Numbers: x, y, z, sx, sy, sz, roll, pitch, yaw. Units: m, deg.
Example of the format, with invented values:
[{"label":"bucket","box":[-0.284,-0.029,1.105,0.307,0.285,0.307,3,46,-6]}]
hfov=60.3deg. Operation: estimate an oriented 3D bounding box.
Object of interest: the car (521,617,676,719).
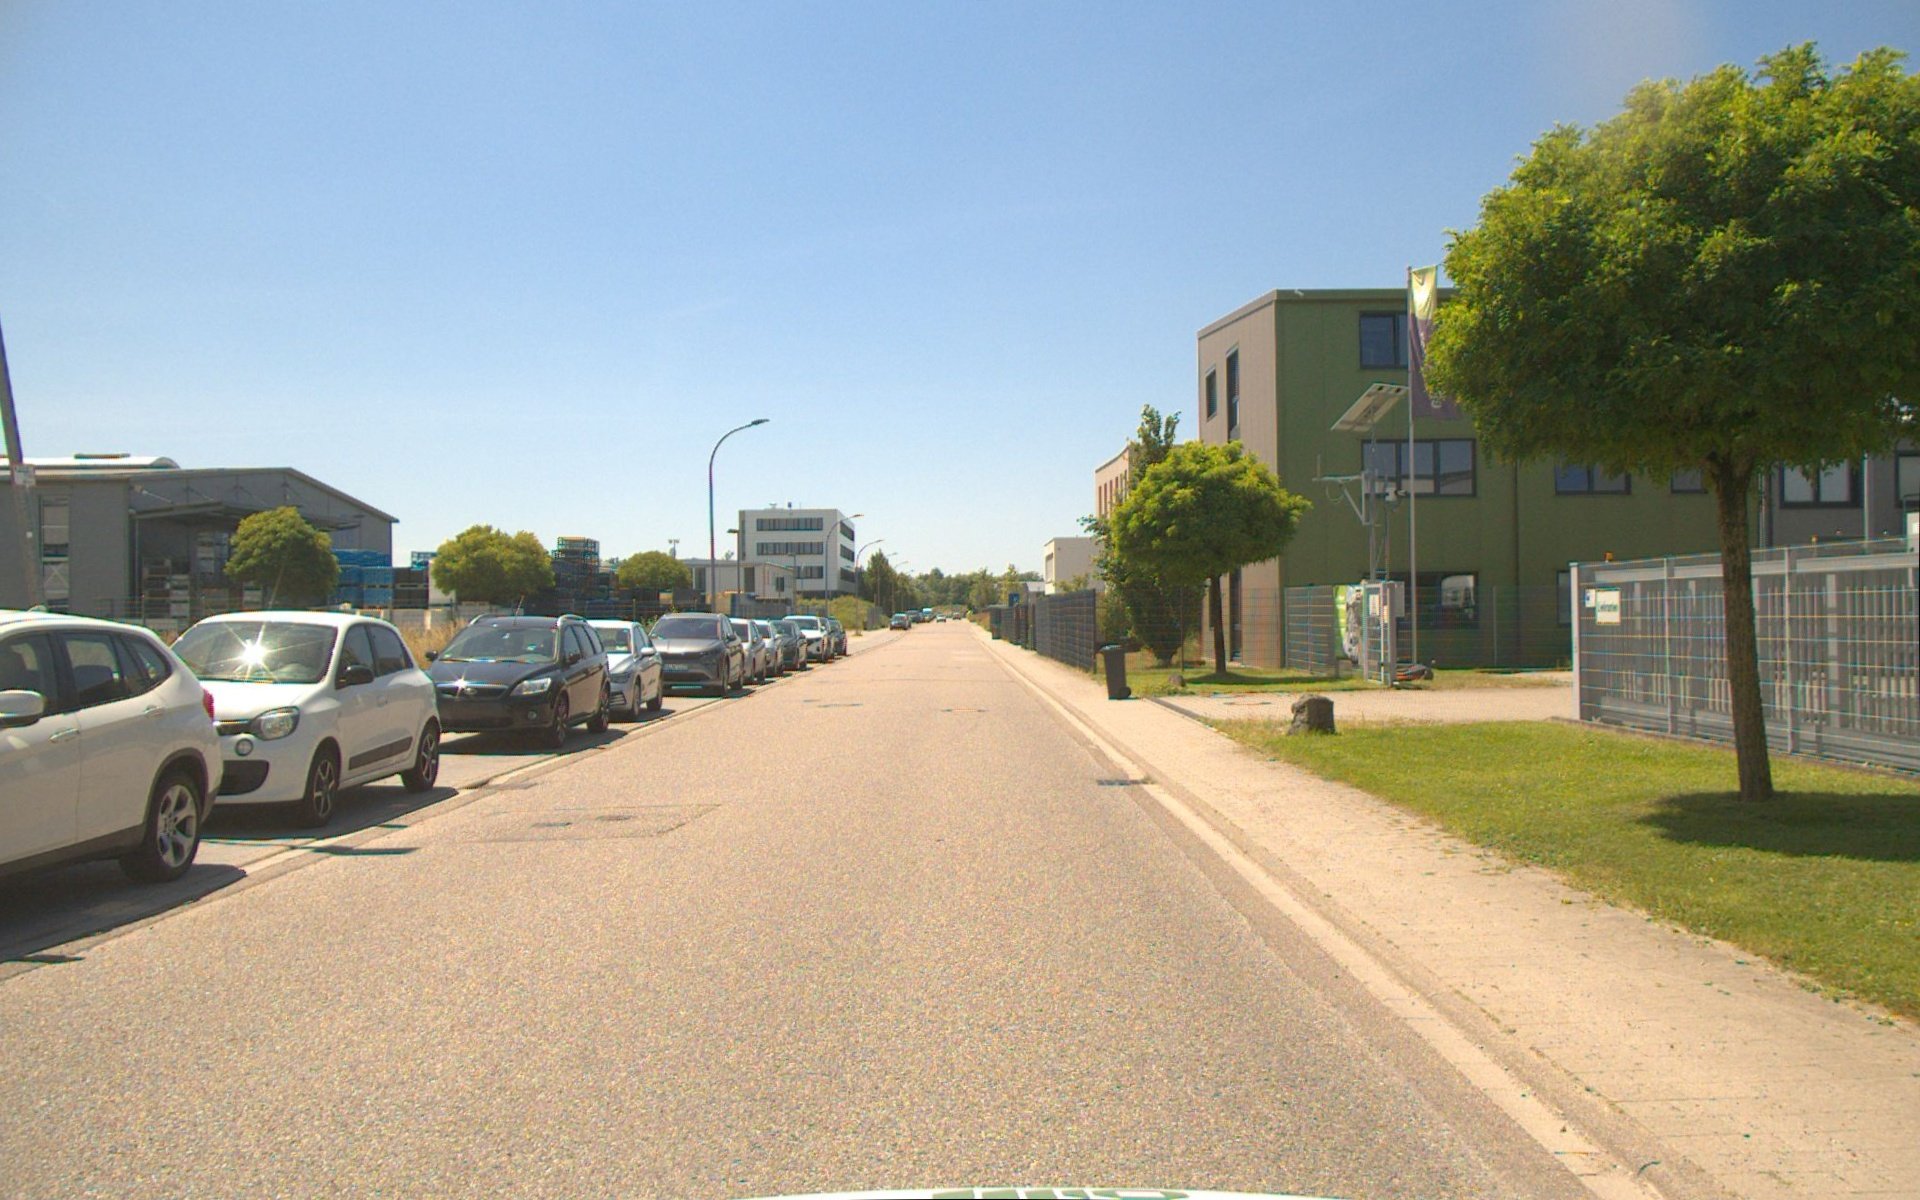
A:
[{"label":"car","box":[-5.644,1.016,26.258,1.728,1.476,4.197,1,0,-3]}]

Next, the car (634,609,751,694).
[{"label":"car","box":[-5.425,1.009,34.035,1.754,1.635,4.461,0,-1,-1]}]

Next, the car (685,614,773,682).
[{"label":"car","box":[-5.565,1.130,40.230,1.659,1.552,3.734,0,-1,-1]}]

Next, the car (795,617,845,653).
[{"label":"car","box":[-5.943,1.488,70.593,1.733,1.487,4.332,0,-1,0]}]

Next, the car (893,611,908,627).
[{"label":"car","box":[-5.934,1.896,165.323,1.436,1.516,3.207,0,0,0]}]

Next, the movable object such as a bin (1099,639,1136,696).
[{"label":"movable object such as a bin","box":[2.784,1.190,29.160,0.540,0.944,0.522,-4,-1,9]}]

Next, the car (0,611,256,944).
[{"label":"car","box":[-5.391,0.843,8.307,1.750,1.569,4.365,0,0,1]}]

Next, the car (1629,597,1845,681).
[{"label":"car","box":[14.766,0.688,31.753,1.953,1.464,4.612,-1,0,0]}]

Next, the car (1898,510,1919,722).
[{"label":"car","box":[12.541,0.121,16.633,2.086,2.537,7.024,-3,0,0]}]

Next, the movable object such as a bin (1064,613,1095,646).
[{"label":"movable object such as a bin","box":[5.460,1.335,75.762,1.307,1.485,0.948,-1,-1,-1]}]

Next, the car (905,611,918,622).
[{"label":"car","box":[-6.481,2.217,220.295,1.611,1.516,3.207,0,0,0]}]

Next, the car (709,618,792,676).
[{"label":"car","box":[-5.708,1.245,45.564,1.739,1.507,4.814,0,-1,-1]}]

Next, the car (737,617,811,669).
[{"label":"car","box":[-5.651,1.293,50.666,1.819,1.507,4.228,0,-1,0]}]

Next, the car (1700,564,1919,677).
[{"label":"car","box":[16.891,0.359,32.730,1.953,2.031,5.654,-1,0,0]}]

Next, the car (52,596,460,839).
[{"label":"car","box":[-5.472,0.829,13.414,1.751,1.685,3.767,0,0,-1]}]

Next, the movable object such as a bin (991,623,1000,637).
[{"label":"movable object such as a bin","box":[2.536,2.116,117.560,0.541,0.944,0.522,-5,0,4]}]

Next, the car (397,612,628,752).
[{"label":"car","box":[-5.435,0.936,20.668,1.727,1.544,4.379,1,0,-1]}]

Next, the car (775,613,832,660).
[{"label":"car","box":[-5.589,1.291,59.582,1.733,1.620,4.358,0,-1,-1]}]
